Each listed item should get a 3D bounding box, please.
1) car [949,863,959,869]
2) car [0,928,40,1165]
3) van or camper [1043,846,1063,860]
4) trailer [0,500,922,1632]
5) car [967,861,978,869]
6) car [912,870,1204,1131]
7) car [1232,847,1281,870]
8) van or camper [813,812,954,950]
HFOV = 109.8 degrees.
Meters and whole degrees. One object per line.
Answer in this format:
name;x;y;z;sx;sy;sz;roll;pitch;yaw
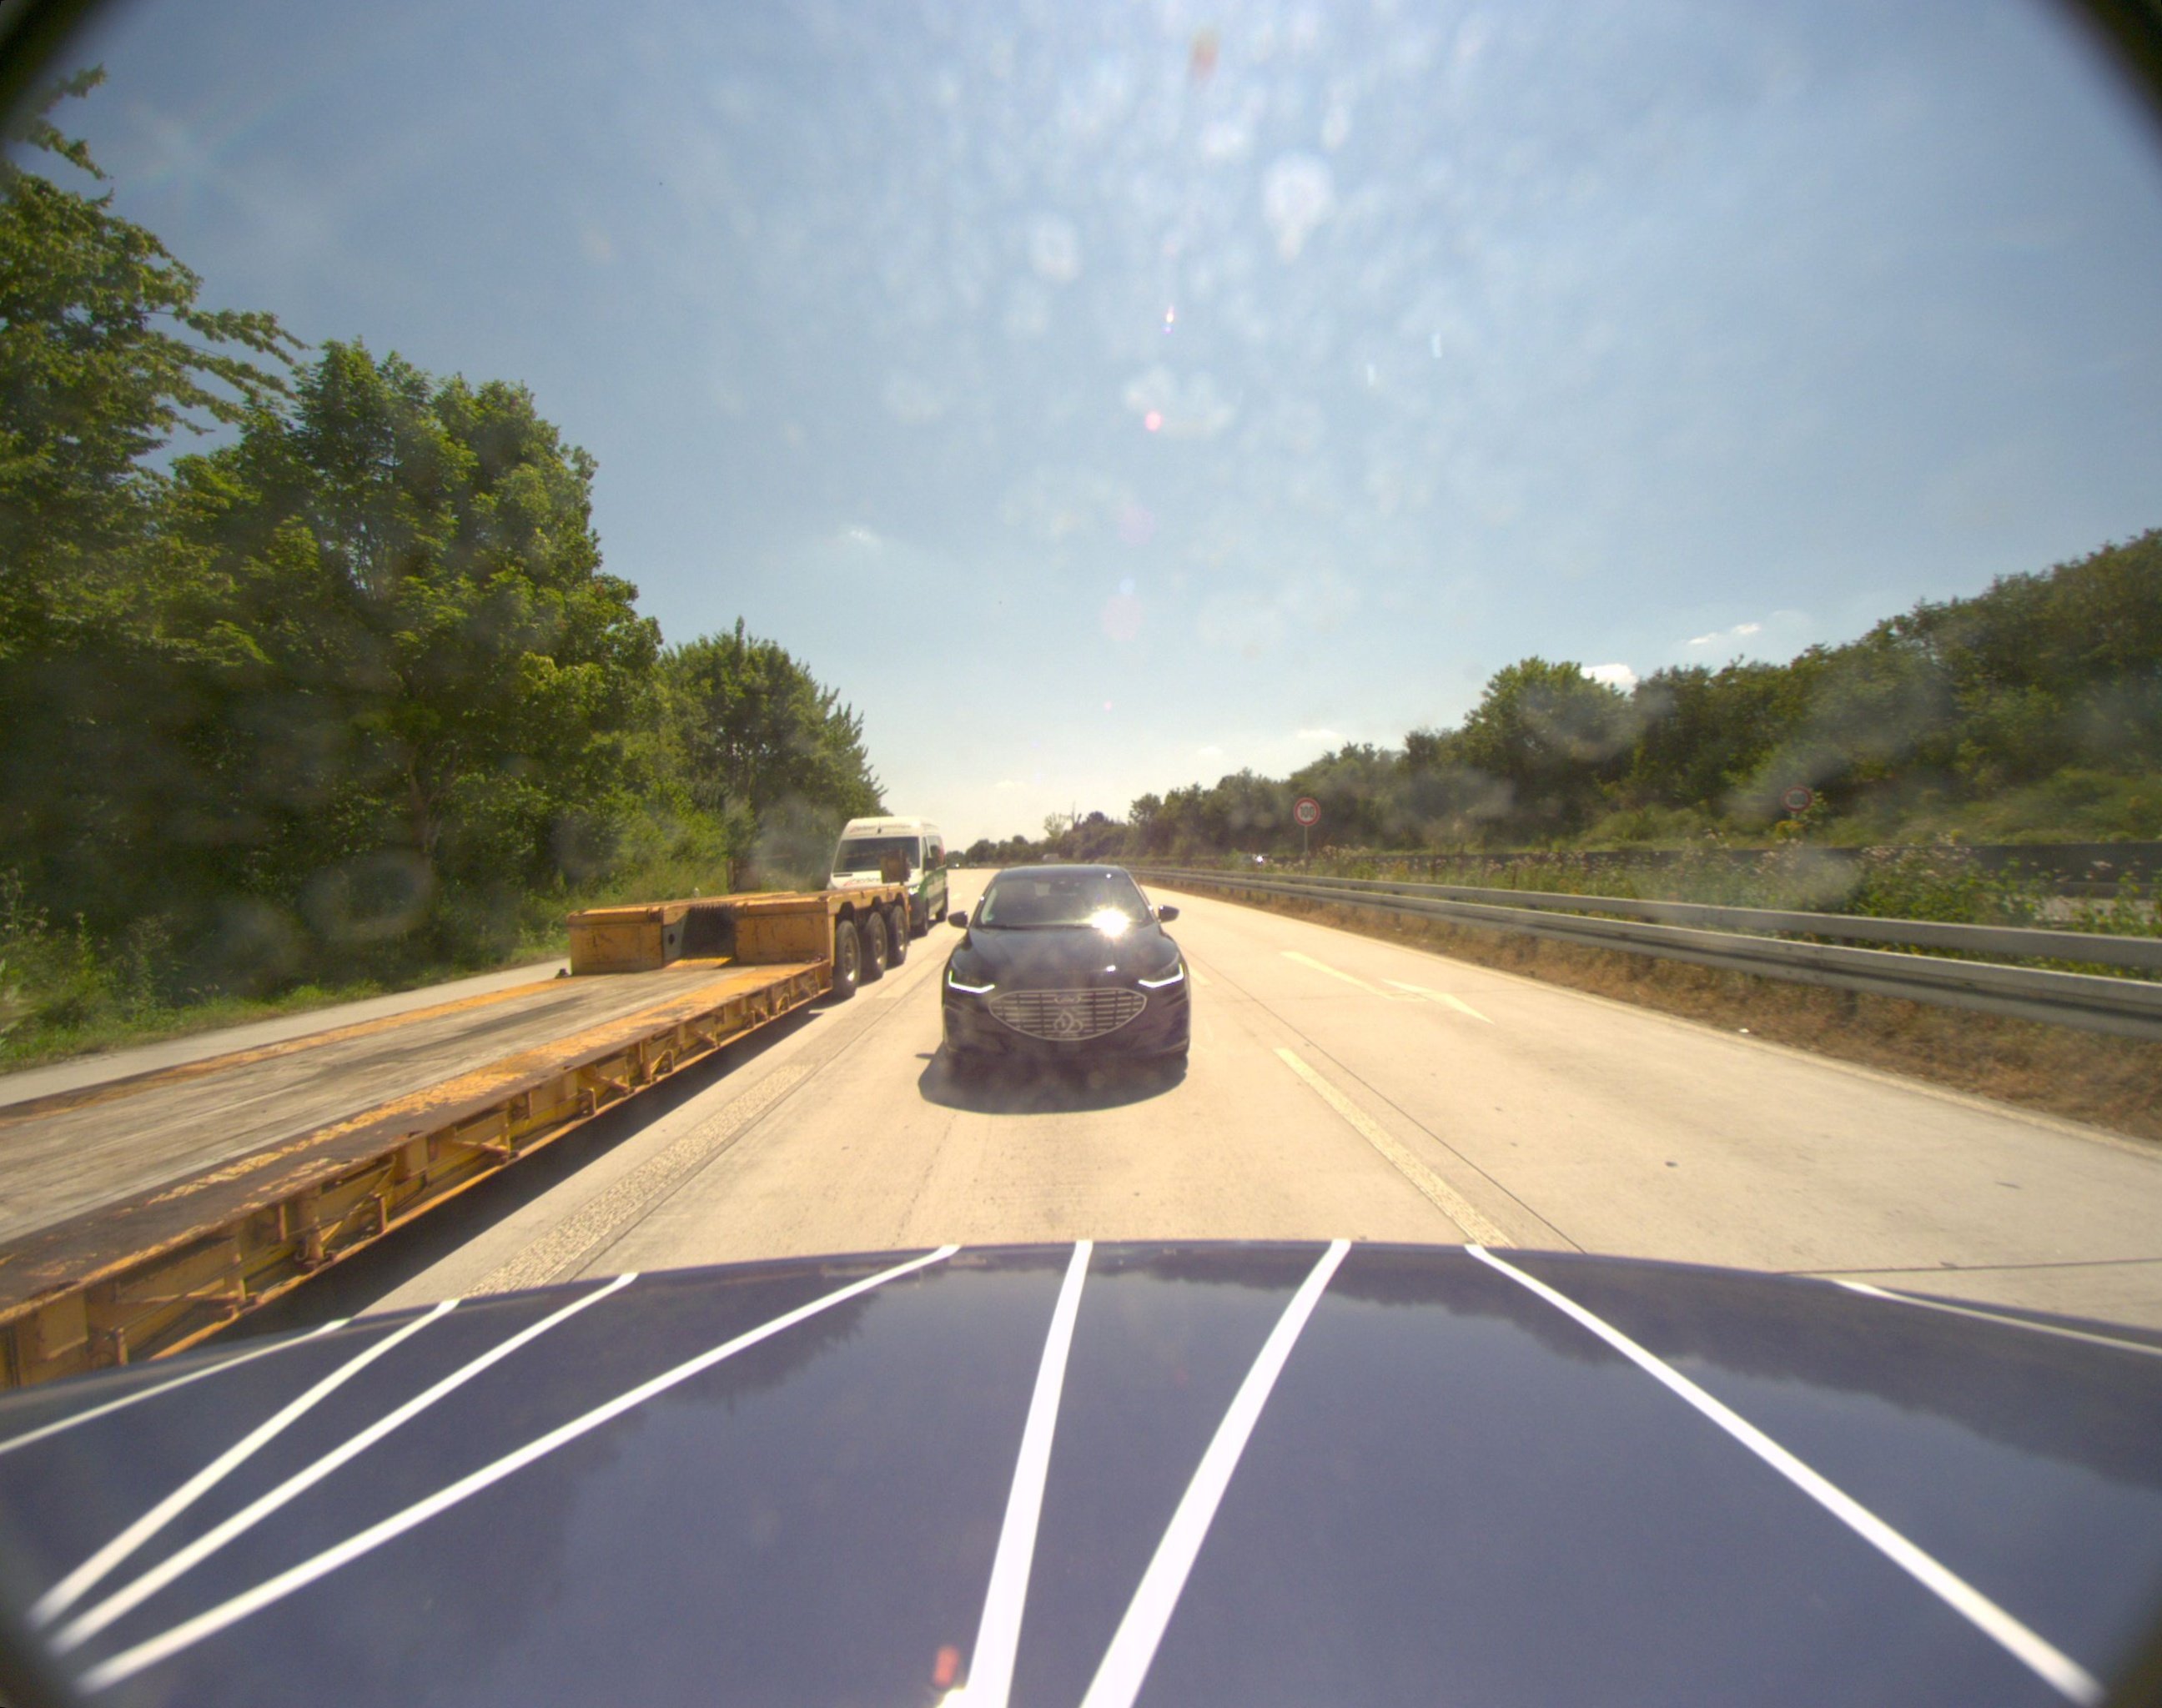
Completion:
car;-34.419;3.236;205.753;1.709;1.456;3.992;-3;1;-23
car;-7.557;1.249;2.553;1.772;1.453;4.597;-2;1;-1
van or camper;-4.557;-0.192;121.599;2.179;2.002;5.632;-2;1;-11
trailer;-4.012;0.517;3.788;3.035;2.578;16.355;-2;0;0
car;-24.167;2.428;169.149;1.629;1.476;3.994;-3;1;-18
car;-0.112;0.944;6.785;1.731;1.430;4.304;-2;0;1
car;12.049;0.254;52.362;1.878;1.438;4.600;-2;1;-5
van or camper;-4.283;0.492;17.539;2.069;2.559;5.904;-2;1;-5
